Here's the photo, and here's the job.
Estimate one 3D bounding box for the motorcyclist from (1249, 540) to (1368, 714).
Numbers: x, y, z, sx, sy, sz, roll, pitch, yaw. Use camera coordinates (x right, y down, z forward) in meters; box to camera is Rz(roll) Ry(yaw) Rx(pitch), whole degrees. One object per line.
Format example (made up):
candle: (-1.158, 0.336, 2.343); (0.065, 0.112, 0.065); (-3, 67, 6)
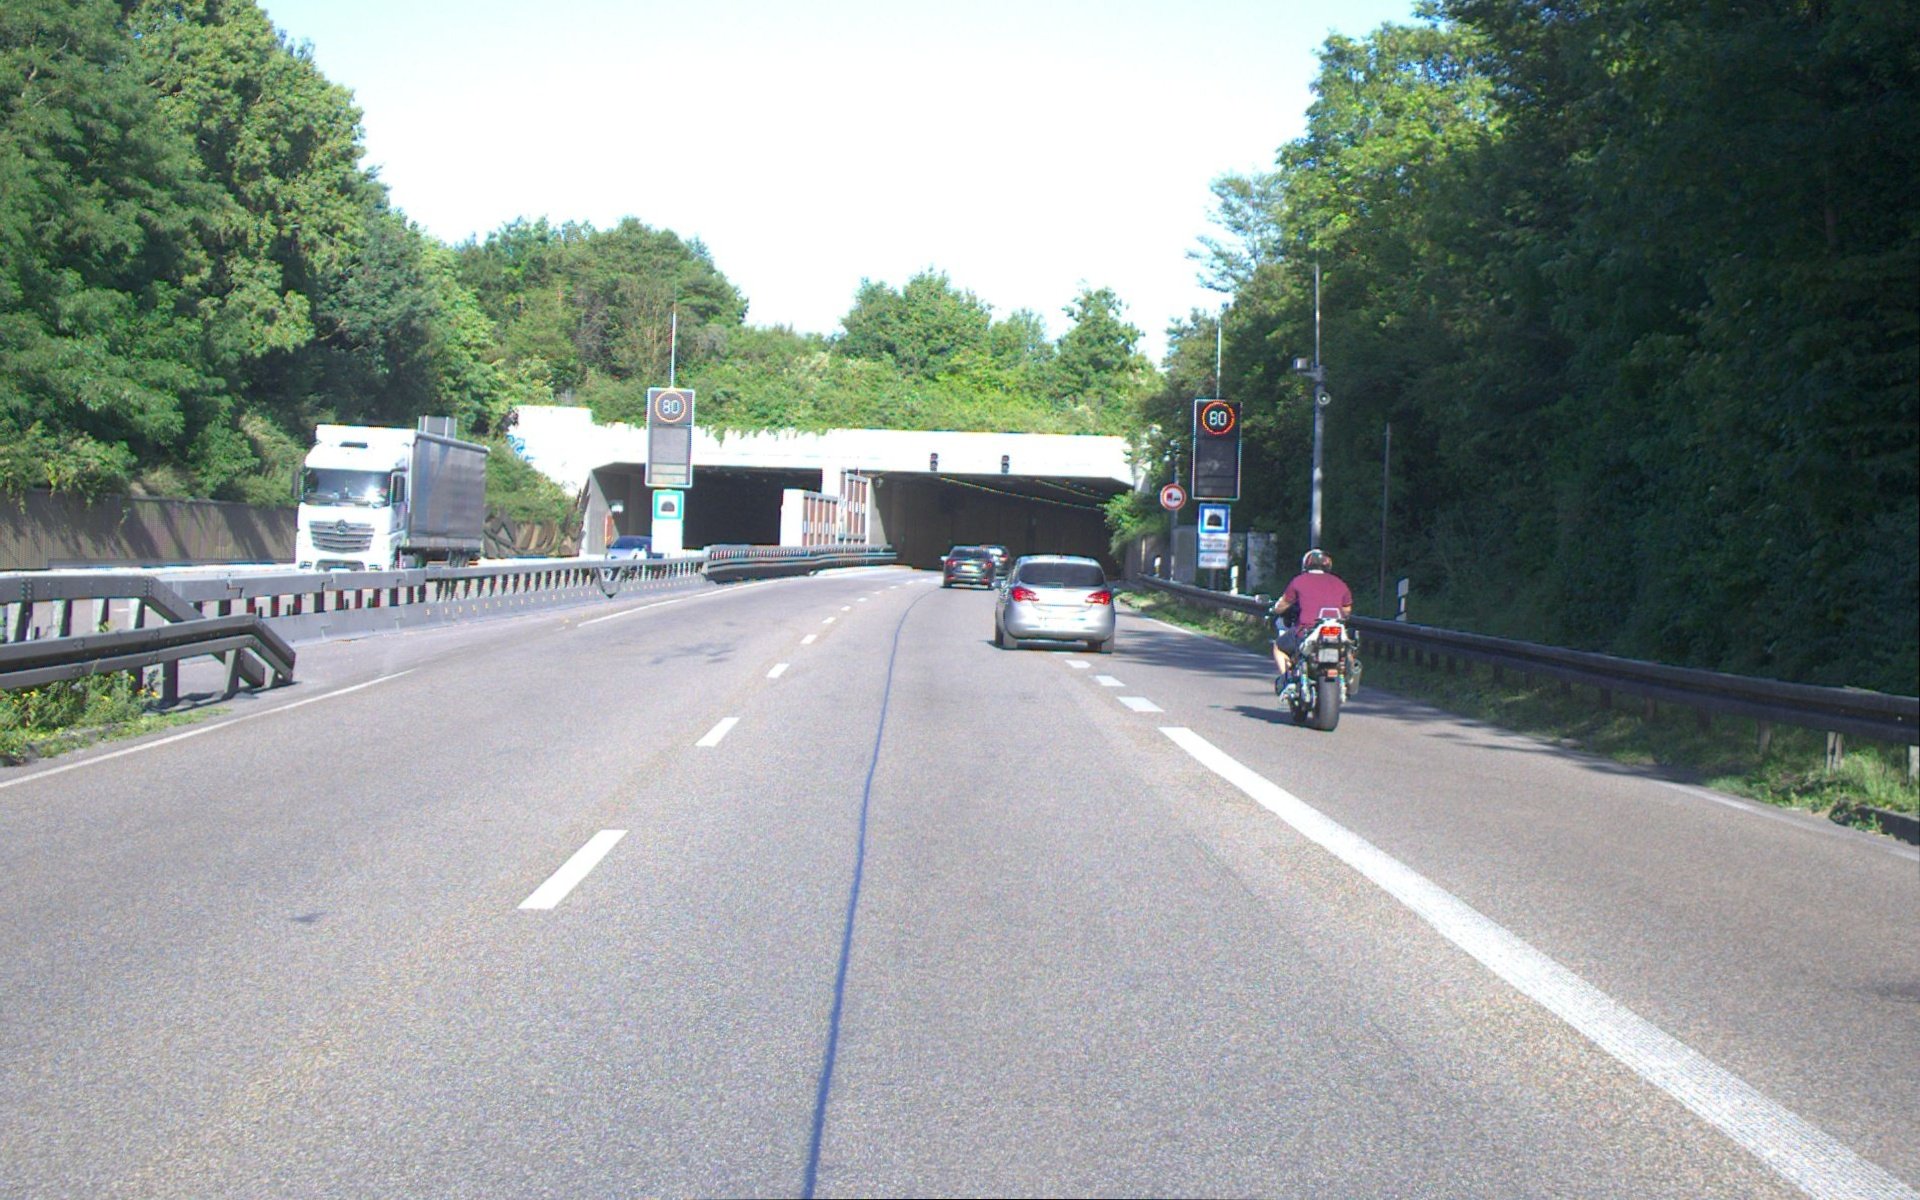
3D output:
motorcyclist: (3.173, 0.233, 31.391); (0.883, 1.496, 1.063); (4, 2, 0)

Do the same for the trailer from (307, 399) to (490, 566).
trailer: (-15.863, -3.345, 98.319); (2.747, 4.265, 14.086); (4, 2, 0)

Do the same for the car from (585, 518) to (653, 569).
car: (-12.474, -2.083, 126.085); (1.993, 1.652, 4.939); (4, 2, -1)

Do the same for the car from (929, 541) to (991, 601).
car: (-0.015, -1.014, 119.628); (1.993, 1.919, 4.001); (2, 1, -1)

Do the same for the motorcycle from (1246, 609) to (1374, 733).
motorcycle: (3.173, 0.624, 31.403); (0.858, 0.988, 2.728); (4, 1, 1)

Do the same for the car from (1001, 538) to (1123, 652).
car: (1.548, -0.106, 53.391); (1.667, 1.546, 4.000); (4, 2, 0)

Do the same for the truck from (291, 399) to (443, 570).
truck: (-15.797, -3.088, 91.978); (2.735, 4.246, 6.388); (4, 2, 0)
